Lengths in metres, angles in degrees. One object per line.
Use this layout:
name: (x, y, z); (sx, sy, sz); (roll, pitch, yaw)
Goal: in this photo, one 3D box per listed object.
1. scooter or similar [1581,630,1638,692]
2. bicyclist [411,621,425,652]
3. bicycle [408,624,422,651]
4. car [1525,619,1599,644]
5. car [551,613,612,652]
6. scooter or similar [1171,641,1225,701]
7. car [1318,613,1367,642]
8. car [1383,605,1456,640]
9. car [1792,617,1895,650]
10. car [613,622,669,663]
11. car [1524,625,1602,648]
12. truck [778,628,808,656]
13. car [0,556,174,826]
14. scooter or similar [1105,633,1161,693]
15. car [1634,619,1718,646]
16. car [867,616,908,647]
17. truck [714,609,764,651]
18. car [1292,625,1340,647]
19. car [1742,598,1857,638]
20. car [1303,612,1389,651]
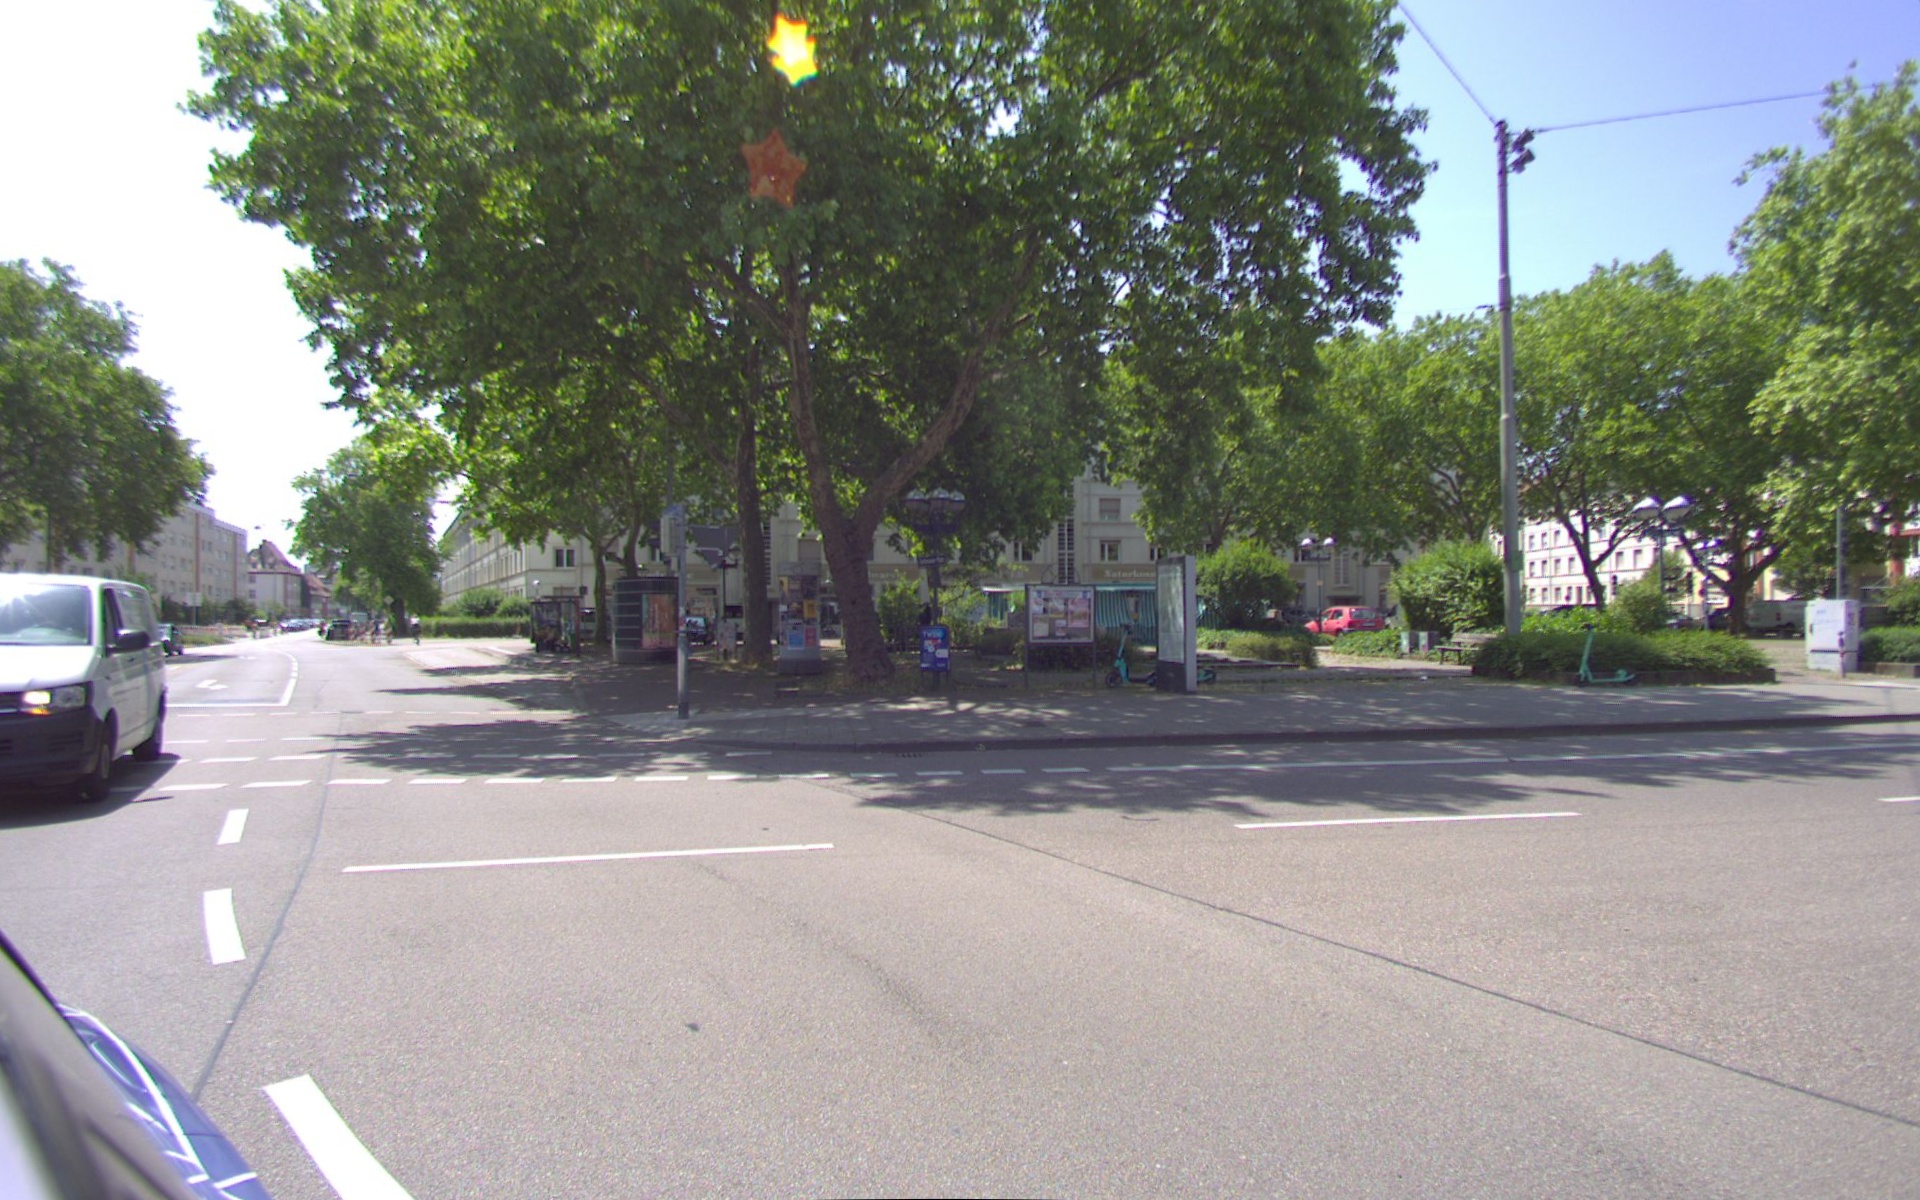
scooter or similar: (11.929, 1.115, 18.605); (0.849, 1.129, 0.257); (0, -1, 3)
bicyclist: (-31.666, 2.130, 59.142); (0.693, 1.748, 0.790); (0, -1, -24)
bicycle: (-31.766, 2.175, 58.987); (0.586, 1.566, 1.849); (0, -1, -25)
car: (36.745, 1.906, 61.911); (1.705, 1.499, 3.859); (0, -2, -12)
car: (-19.351, 1.654, 51.904); (1.969, 1.913, 4.004); (0, -1, -5)
scooter or similar: (4.575, 1.361, 19.475); (0.964, 1.129, 0.257); (0, -1, 3)
car: (26.714, 1.894, 70.748); (1.549, 1.964, 3.932); (0, -1, -6)
car: (27.194, 1.323, 60.049); (2.132, 1.964, 4.005); (0, -1, -6)
car: (43.094, 1.618, 49.367); (3.785, 1.499, 1.928); (0, -2, -14)
car: (-16.551, 2.181, 52.699); (1.969, 2.029, 4.004); (0, -1, -5)
car: (36.292, 2.195, 61.047); (1.891, 1.265, 3.859); (0, -1, -12)
truck: (-8.886, 2.228, 53.705); (1.445, 1.388, 2.989); (0, -1, -11)
car: (-8.675, 0.745, 9.262); (1.822, 1.968, 4.957); (0, -2, -32)
scooter or similar: (3.325, 1.208, 19.473); (1.023, 1.129, 0.257); (-1, -1, 3)
car: (41.359, 1.863, 58.458); (3.785, 1.499, 1.928); (0, -2, -14)
car: (-3.963, 1.683, 54.732); (1.904, 1.613, 4.007); (0, -1, -8)
truck: (-11.590, 1.537, 53.352); (1.936, 2.139, 4.376); (0, -1, -3)
car: (24.682, 2.466, 70.257); (1.597, 1.420, 3.932); (0, -1, -6)
car: (43.237, 0.924, 52.133); (5.022, 2.005, 1.928); (0, -2, -14)
car: (14.408, 1.138, 37.946); (1.449, 1.394, 3.352); (0, -1, -10)
